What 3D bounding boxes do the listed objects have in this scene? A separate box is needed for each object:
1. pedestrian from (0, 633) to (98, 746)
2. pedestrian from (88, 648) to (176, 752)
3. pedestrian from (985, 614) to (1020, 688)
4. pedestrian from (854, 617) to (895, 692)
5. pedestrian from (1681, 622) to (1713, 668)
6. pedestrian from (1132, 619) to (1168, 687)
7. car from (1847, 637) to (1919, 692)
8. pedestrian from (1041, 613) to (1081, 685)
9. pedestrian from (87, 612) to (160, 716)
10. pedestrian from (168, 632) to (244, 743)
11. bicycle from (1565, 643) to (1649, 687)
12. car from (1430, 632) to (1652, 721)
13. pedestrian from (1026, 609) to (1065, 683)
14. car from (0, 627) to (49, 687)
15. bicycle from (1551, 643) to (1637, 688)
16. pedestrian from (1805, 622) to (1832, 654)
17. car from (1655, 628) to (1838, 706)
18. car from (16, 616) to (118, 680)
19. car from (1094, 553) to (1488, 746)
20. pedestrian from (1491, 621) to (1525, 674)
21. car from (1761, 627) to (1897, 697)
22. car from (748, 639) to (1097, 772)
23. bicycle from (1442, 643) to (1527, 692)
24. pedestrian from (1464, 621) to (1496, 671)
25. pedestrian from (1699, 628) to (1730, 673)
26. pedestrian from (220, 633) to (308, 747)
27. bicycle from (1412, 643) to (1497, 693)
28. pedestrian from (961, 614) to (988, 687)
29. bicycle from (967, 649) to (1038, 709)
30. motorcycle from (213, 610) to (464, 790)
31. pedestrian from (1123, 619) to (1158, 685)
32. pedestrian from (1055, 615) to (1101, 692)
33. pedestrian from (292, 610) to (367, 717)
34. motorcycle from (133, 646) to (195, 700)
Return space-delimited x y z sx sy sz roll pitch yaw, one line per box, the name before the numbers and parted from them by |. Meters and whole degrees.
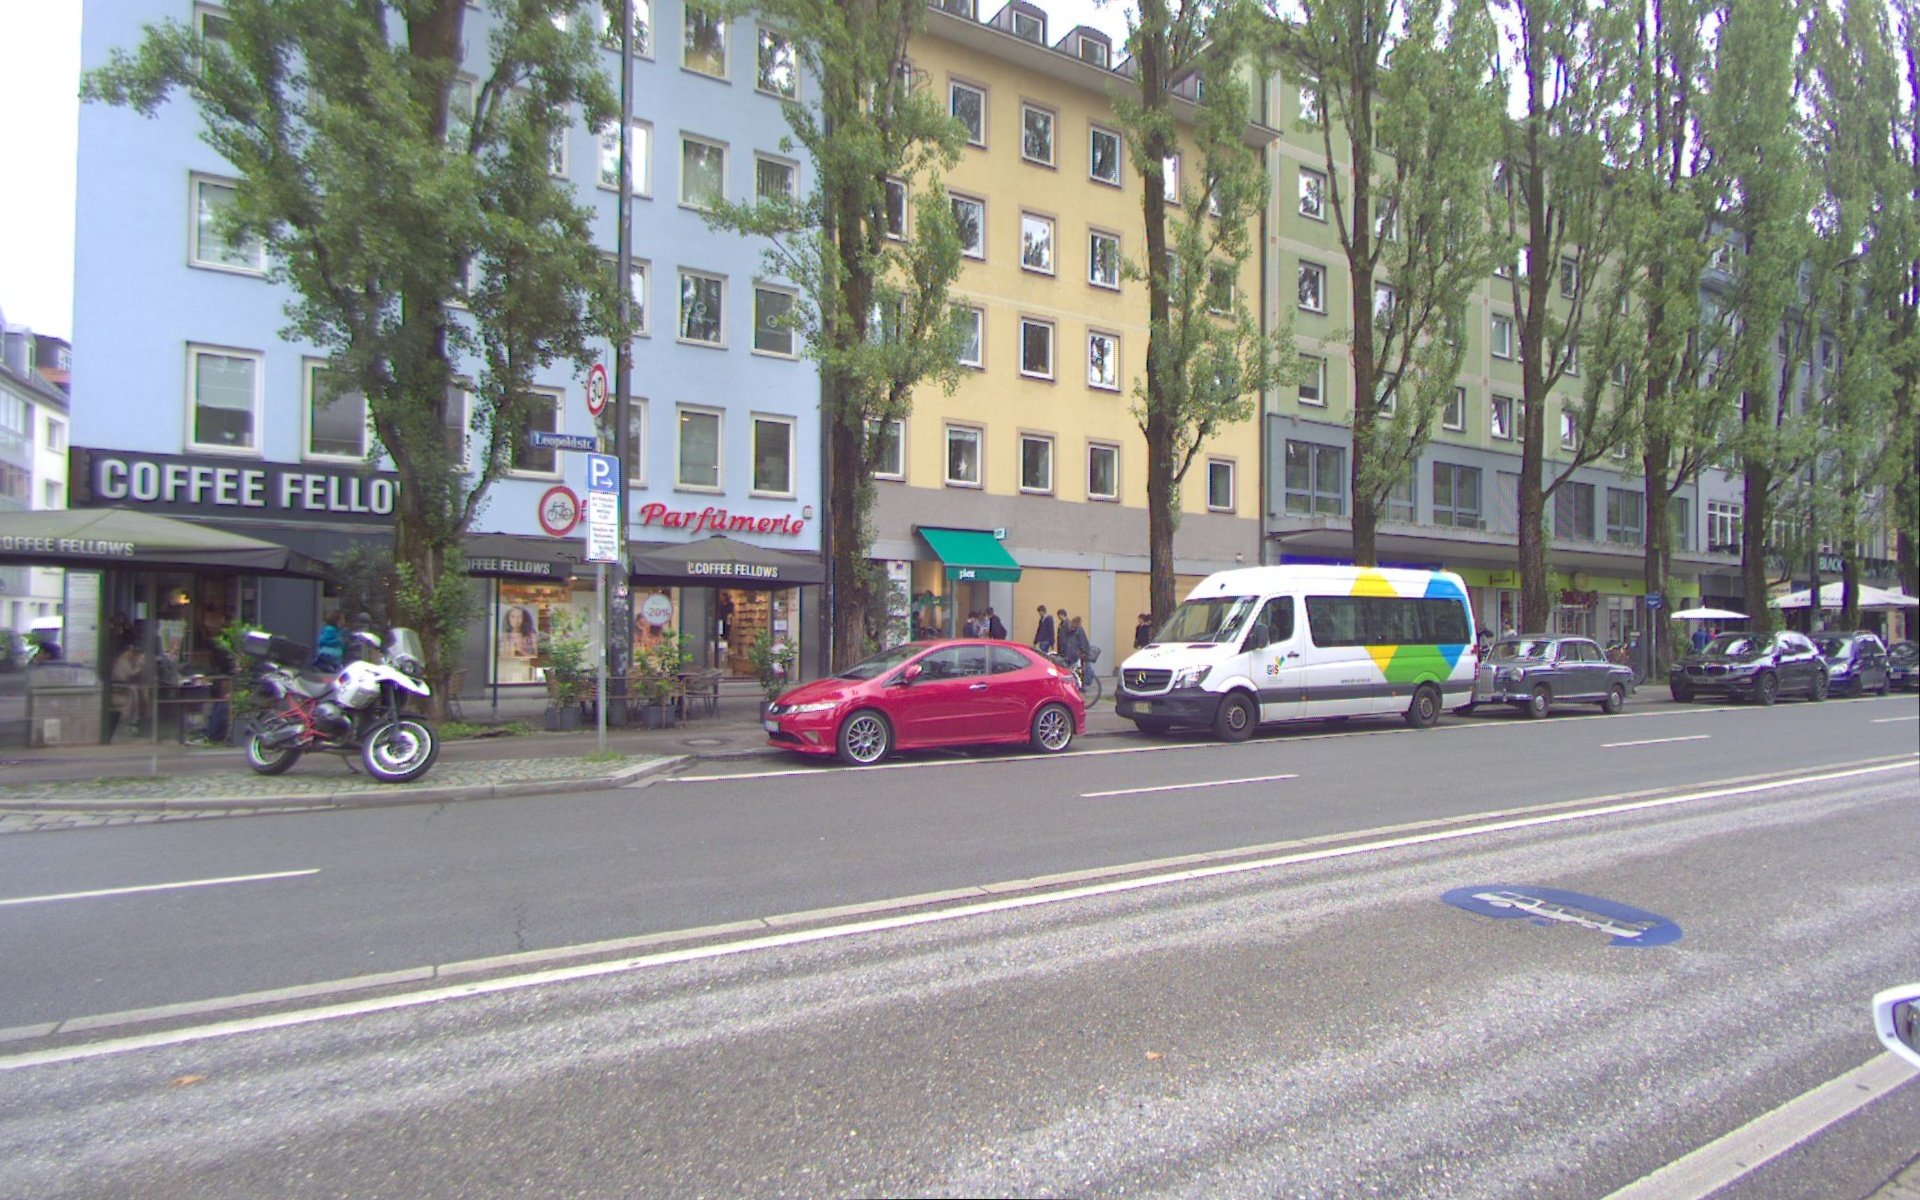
pedestrian | -11.647 1.114 12.816 0.808 1.380 0.695 1 -2 -27
pedestrian | -10.052 1.186 12.220 0.692 1.198 0.811 1 -2 -31
pedestrian | 0.957 1.163 22.910 0.713 1.657 0.699 0 -2 -6
pedestrian | -1.935 1.226 22.736 0.718 1.657 0.695 1 -2 -28
pedestrian | 27.921 1.710 38.039 0.667 1.708 0.753 2 -3 -29
pedestrian | 4.893 1.362 25.872 0.713 1.722 0.699 0 -2 -9
car | 27.947 1.846 29.315 4.299 1.508 1.790 1 -3 -30
pedestrian | 2.463 1.197 24.542 0.717 1.722 0.695 1 -2 -25
pedestrian | -14.961 1.129 17.972 0.933 1.796 0.699 -1 -2 30
pedestrian | -9.731 1.100 12.985 0.692 1.380 0.709 1 -2 -32
bicycle | 18.845 1.875 29.300 0.712 1.110 1.933 1 1 -36
car | 11.463 1.440 19.776 4.362 1.572 1.858 1 -3 -30
pedestrian | 2.141 1.154 25.203 0.717 1.818 0.695 1 -2 -25
car | -30.484 1.783 31.346 2.093 1.789 4.551 1 -3 -30
bicycle | 18.168 1.858 28.828 0.712 1.110 1.933 1 1 -36
pedestrian | 40.037 1.768 46.853 0.792 1.428 0.760 2 0 -35
car | 18.679 1.539 23.816 4.557 1.686 1.858 1 -3 -30
car | -35.209 1.899 39.730 1.959 2.396 4.554 1 -3 -29
car | 5.482 0.779 16.164 6.831 2.601 1.996 1 -3 -30
pedestrian | 18.128 1.577 33.243 0.667 1.708 0.753 2 -3 -29
car | 23.168 1.631 26.755 3.880 1.743 1.700 1 -3 -33
car | -0.424 1.220 12.687 4.100 1.438 1.729 1 -3 -30
bicycle | 13.558 1.718 26.003 0.710 1.110 1.862 1 1 -27
pedestrian | 17.977 1.585 34.711 0.749 1.708 0.670 2 -2 -29
pedestrian | 29.017 1.941 38.634 0.667 1.708 0.753 2 -3 -29
pedestrian | -8.770 1.113 12.695 0.838 1.380 0.694 1 -2 -31
bicycle | 12.429 1.696 25.306 0.710 1.110 1.862 1 1 -27
pedestrian | 0.327 1.159 23.250 0.553 1.657 0.699 0 -2 -6
bicycle | 0.771 1.462 18.875 0.416 1.040 1.764 1 -2 -32
motorcycle | -6.003 0.905 9.698 2.301 1.584 0.715 1 -1 18
pedestrian | 4.780 1.377 26.595 0.713 1.722 0.699 0 -2 -9
pedestrian | 2.688 1.212 22.916 0.775 1.708 0.753 1 -2 -27
pedestrian | -10.128 1.007 16.171 0.938 1.668 0.695 1 -2 -28
motorcycle | -19.799 1.776 25.040 0.729 1.219 2.748 -1 -1 -28
